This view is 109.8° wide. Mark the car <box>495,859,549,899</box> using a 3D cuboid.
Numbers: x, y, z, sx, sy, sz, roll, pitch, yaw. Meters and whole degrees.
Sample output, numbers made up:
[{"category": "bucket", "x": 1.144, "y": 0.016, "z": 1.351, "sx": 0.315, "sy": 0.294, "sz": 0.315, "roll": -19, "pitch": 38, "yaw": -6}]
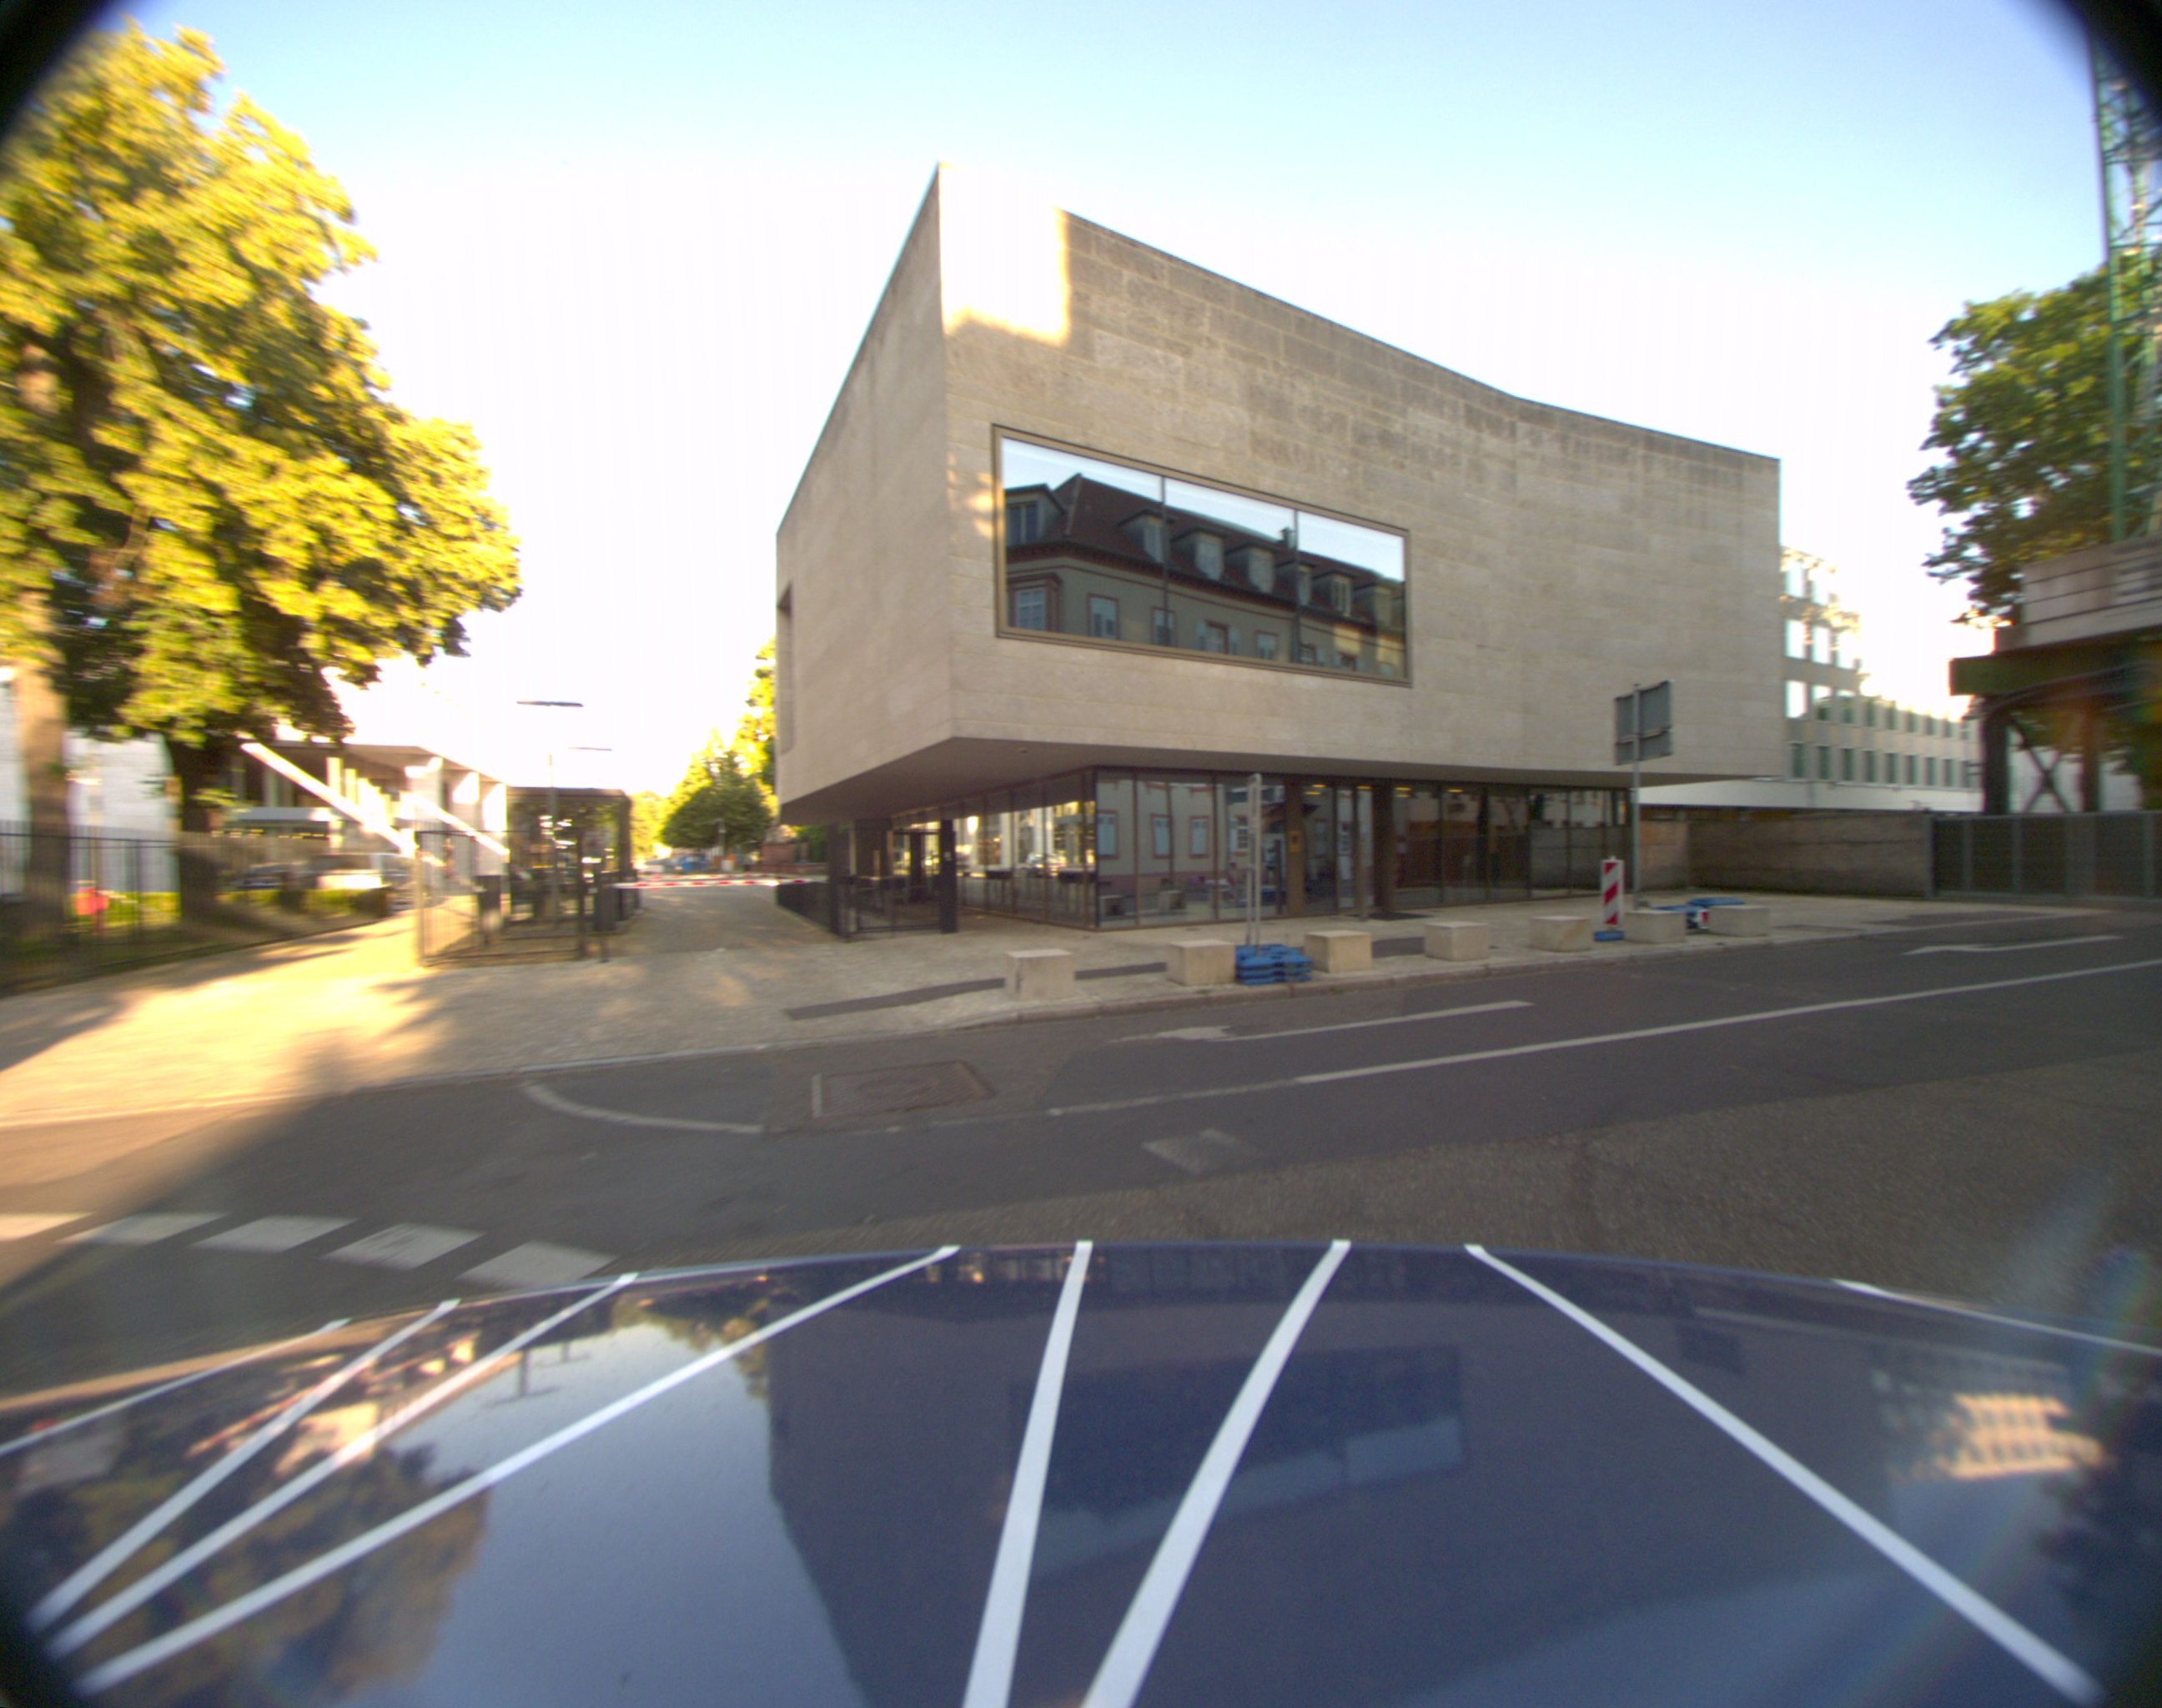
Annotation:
[{"category": "car", "x": -24.884, "y": 1.059, "z": 33.946, "sx": 1.713, "sy": 1.575, "sz": 3.669, "roll": -2, "pitch": 2, "yaw": -34}]

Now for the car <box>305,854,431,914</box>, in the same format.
[{"category": "car", "x": -22.889, "y": 0.897, "z": 24.581, "sx": 1.712, "sy": 1.726, "sz": 4.055, "roll": 1, "pitch": 0, "yaw": -24}]
